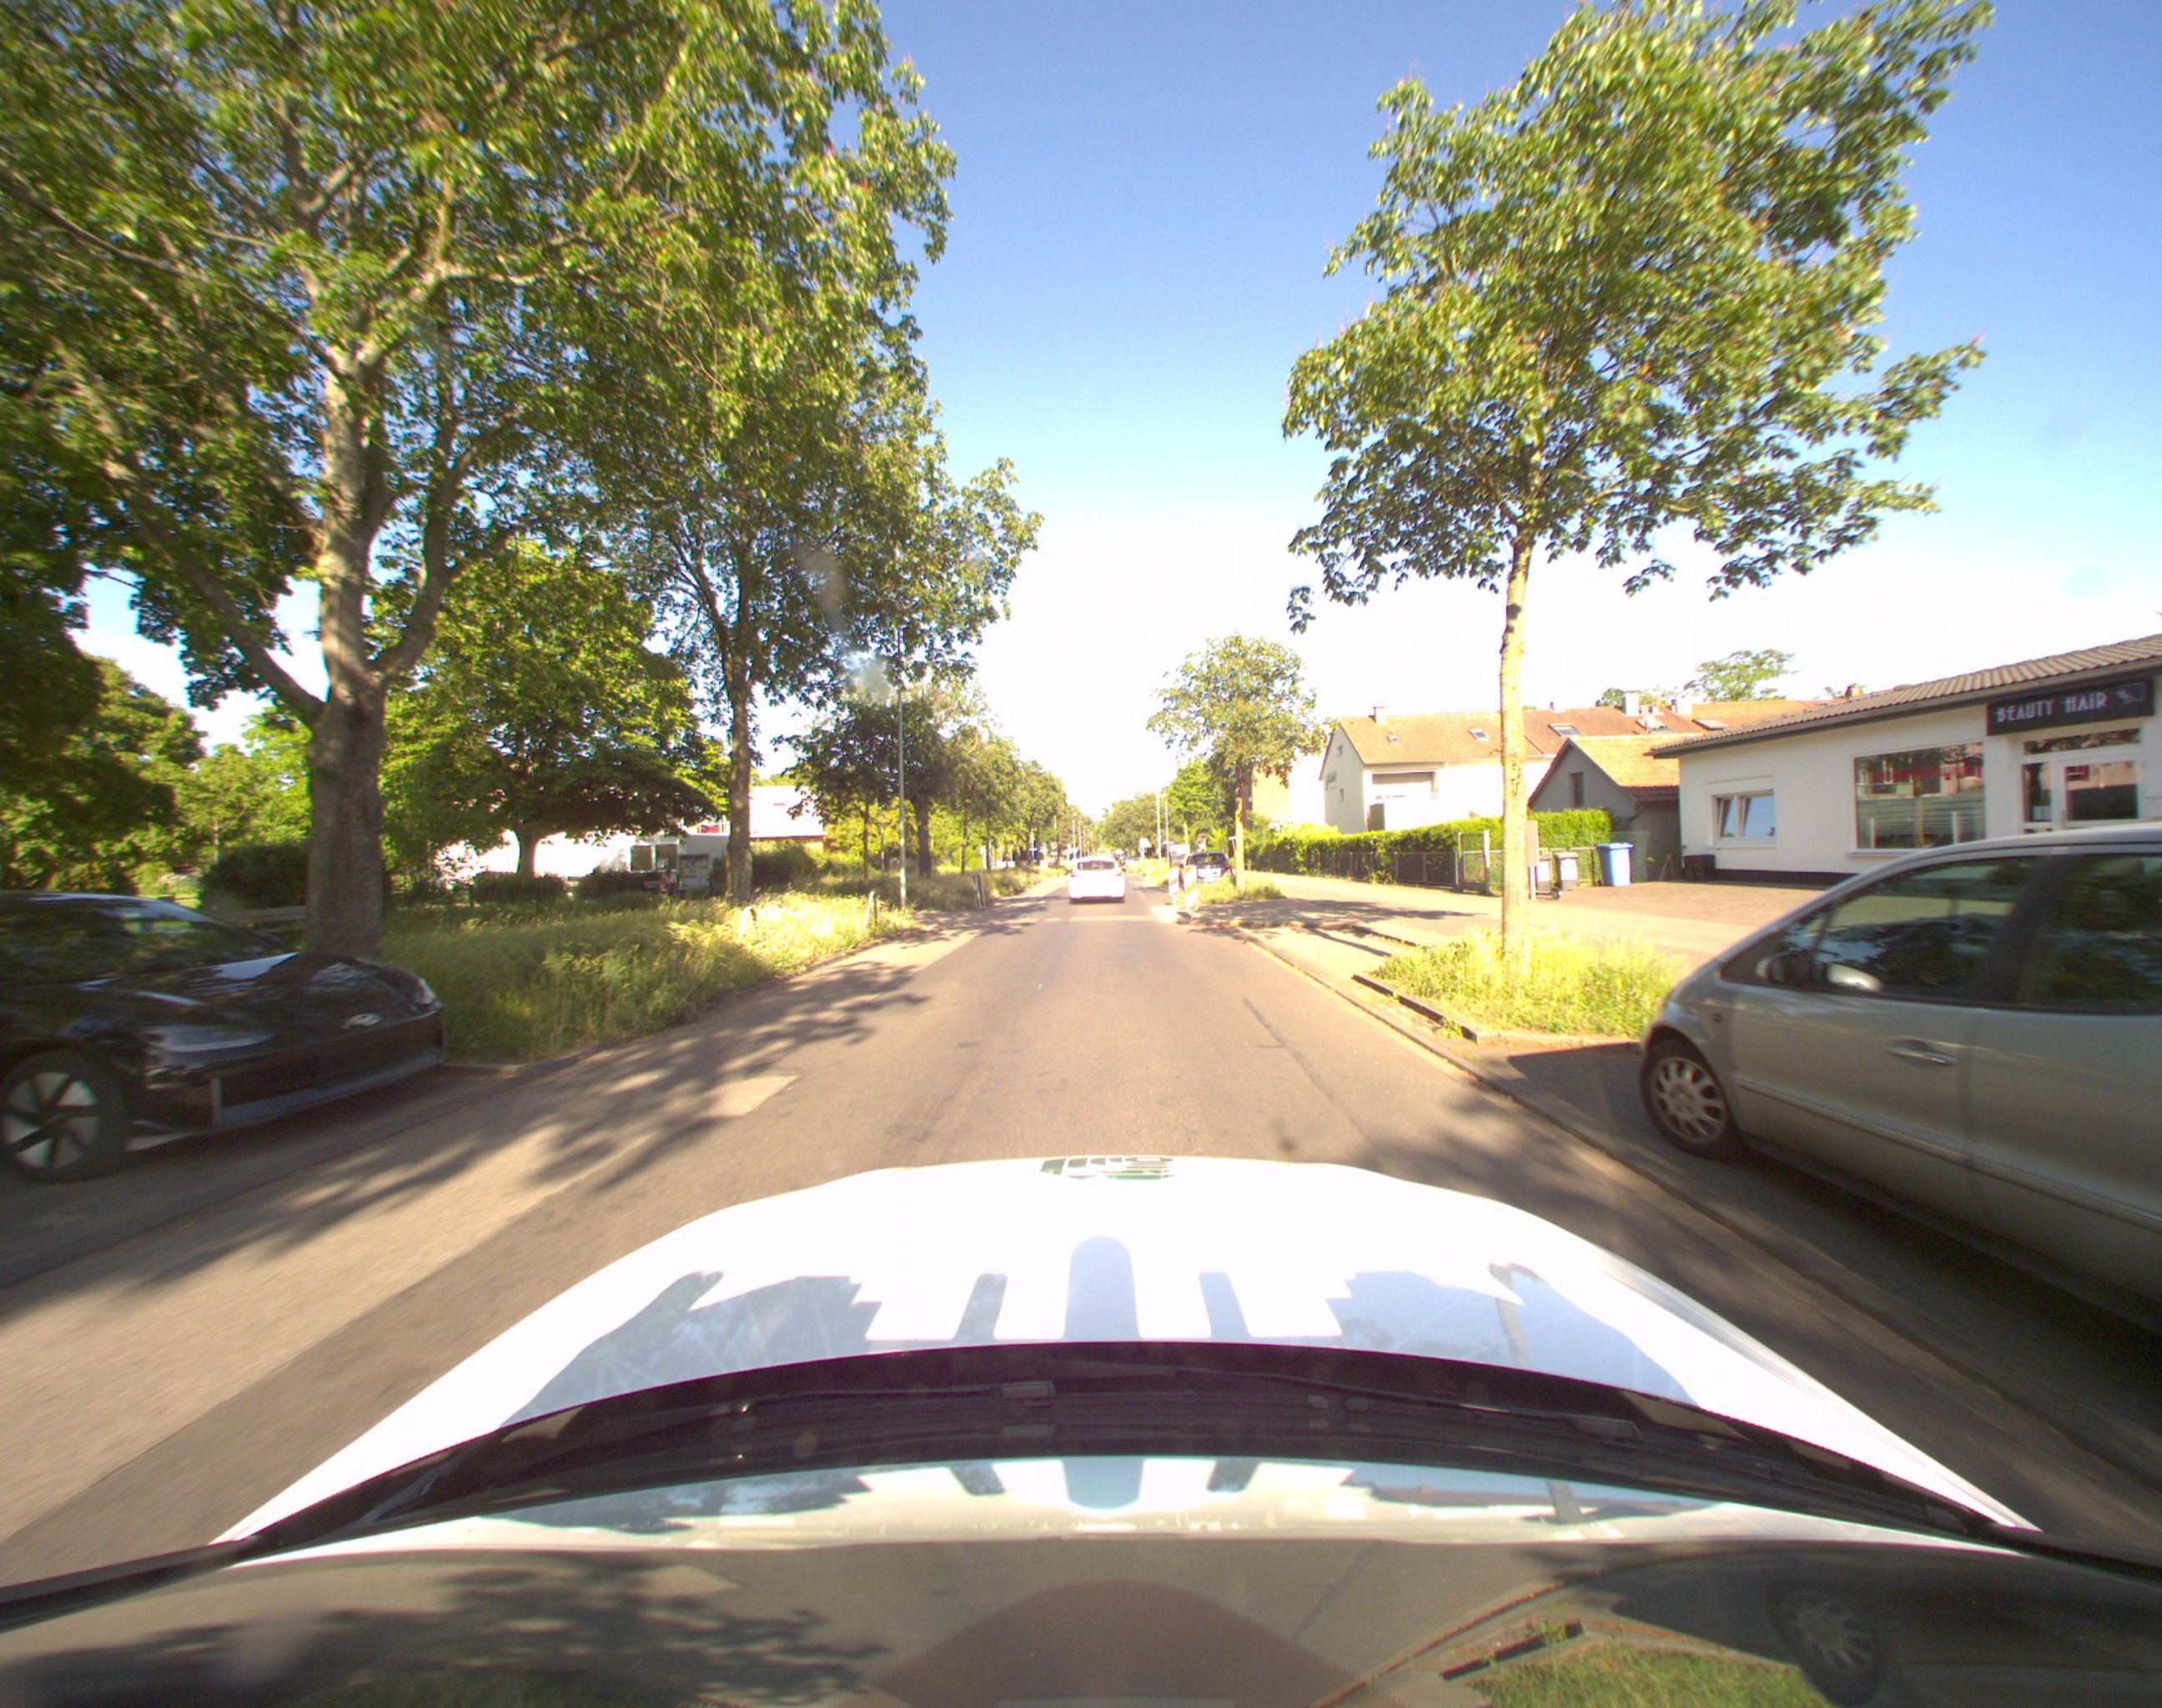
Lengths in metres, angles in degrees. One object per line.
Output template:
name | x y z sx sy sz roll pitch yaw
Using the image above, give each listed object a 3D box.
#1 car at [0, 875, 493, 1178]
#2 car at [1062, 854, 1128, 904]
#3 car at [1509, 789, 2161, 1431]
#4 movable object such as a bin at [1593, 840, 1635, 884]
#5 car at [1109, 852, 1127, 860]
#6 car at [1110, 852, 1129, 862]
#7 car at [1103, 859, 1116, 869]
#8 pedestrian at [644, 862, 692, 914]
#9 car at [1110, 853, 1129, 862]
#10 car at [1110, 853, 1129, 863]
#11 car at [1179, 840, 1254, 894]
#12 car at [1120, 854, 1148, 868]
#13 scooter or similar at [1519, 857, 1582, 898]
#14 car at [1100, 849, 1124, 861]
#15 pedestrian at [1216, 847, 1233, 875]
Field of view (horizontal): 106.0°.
car | -6.566 0.927 5.148 4.352 1.531 1.808 0 0 0
car | 0.469 0.778 27.249 1.987 1.455 4.225 -2 0 1
car | 3.596 0.668 3.259 1.604 1.622 4.384 1 0 2
movable object such as a bin | 13.176 0.184 20.156 0.491 1.031 0.747 -4 0 1
car | 8.636 0.480 190.856 3.975 1.750 1.999 -1 0 -1
car | 8.374 0.722 177.862 3.974 2.013 2.000 -1 0 0
car | 4.299 1.492 123.072 1.810 1.508 3.660 1 0 2
pedestrian | -14.890 1.208 29.418 1.227 1.827 1.543 0 -1 -15
car | 8.545 0.783 180.584 3.974 2.013 2.000 -1 0 0
car | 8.271 0.778 175.292 3.974 2.013 2.000 -1 0 0
car | 4.897 0.473 30.071 1.987 1.728 3.999 -3 -1 -1
car | 6.239 0.805 94.958 1.975 1.508 3.679 1 0 26
scooter or similar | 10.440 0.501 18.171 0.368 0.858 1.406 -1 0 -11
car | 5.246 0.126 138.705 3.974 2.013 2.000 -2 0 0
pedestrian | 10.815 0.528 61.367 1.108 2.013 0.922 -2 0 2
